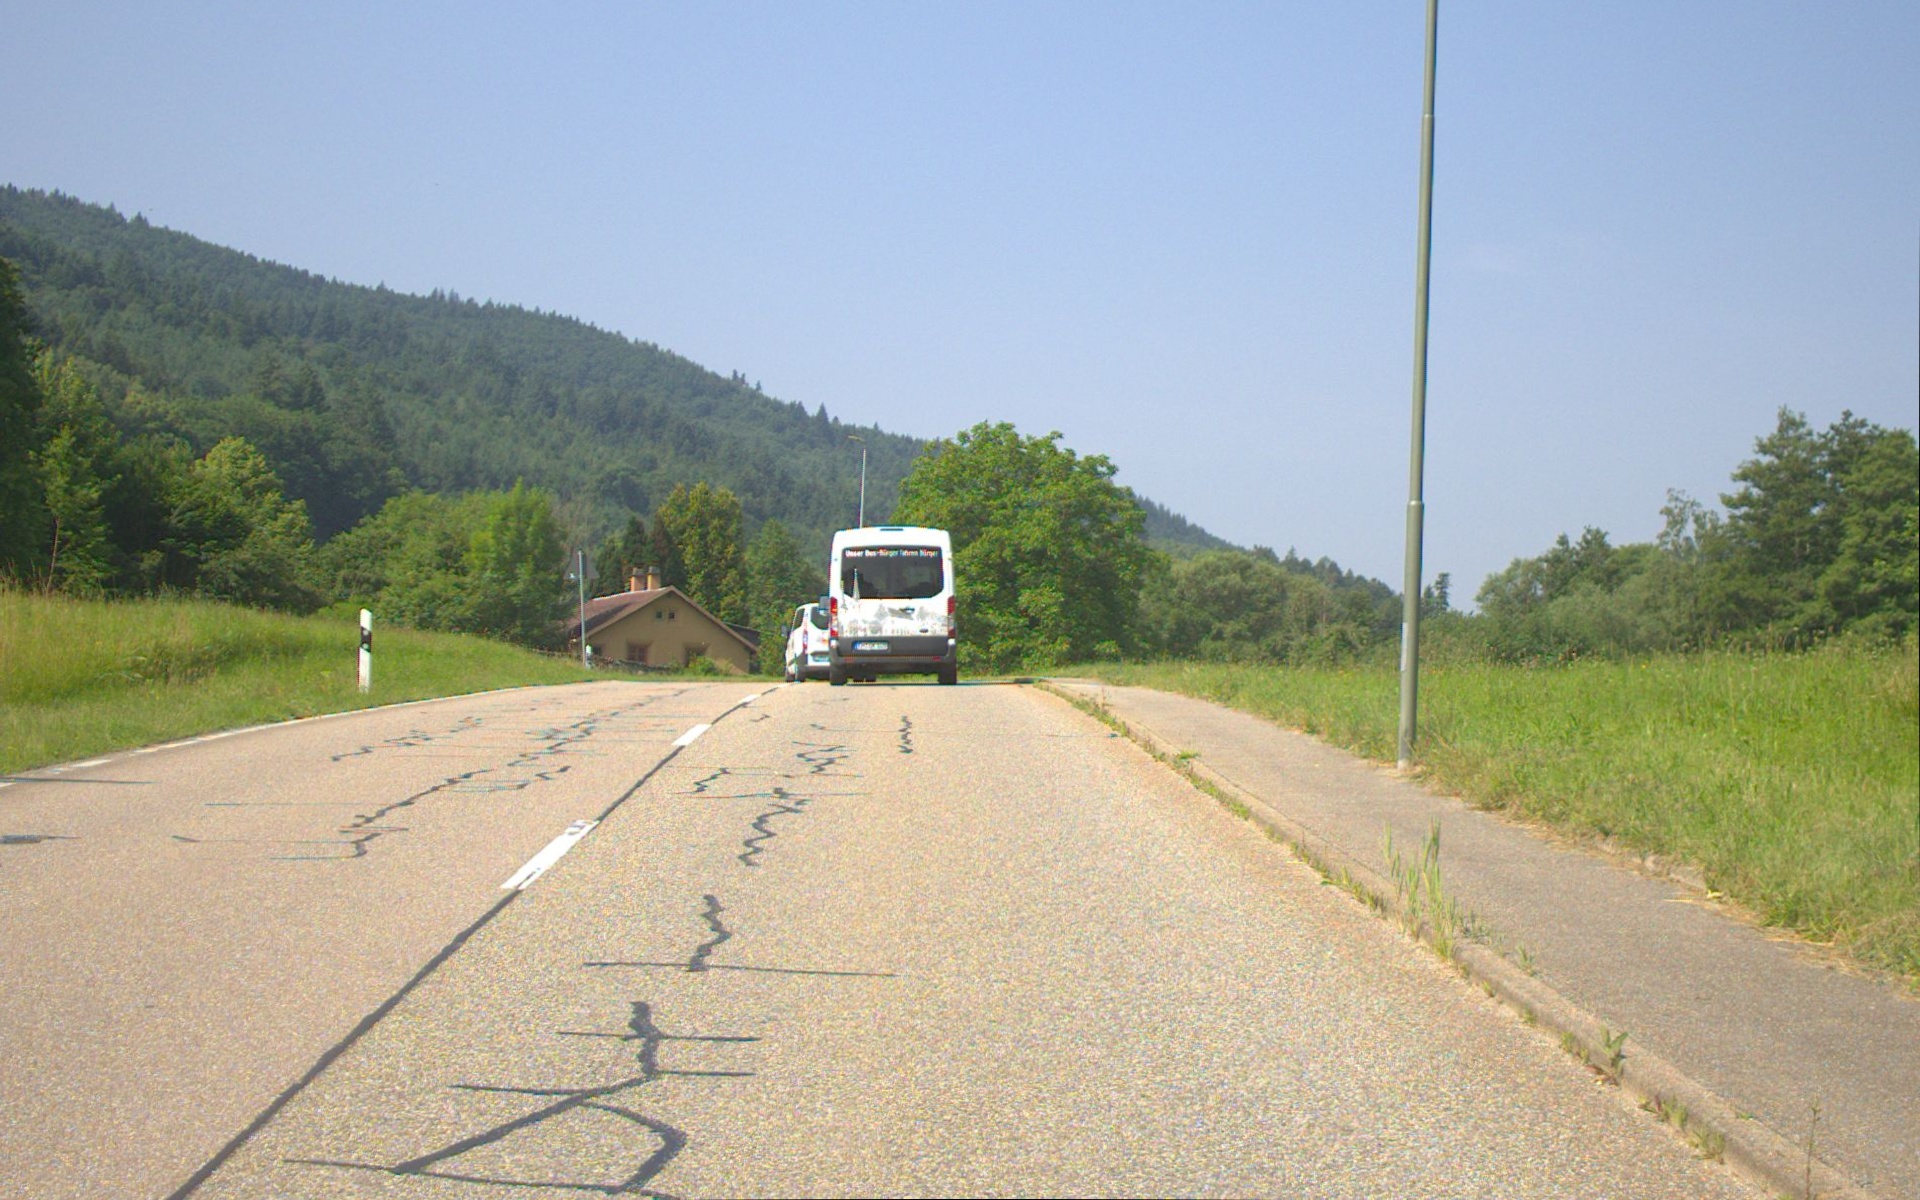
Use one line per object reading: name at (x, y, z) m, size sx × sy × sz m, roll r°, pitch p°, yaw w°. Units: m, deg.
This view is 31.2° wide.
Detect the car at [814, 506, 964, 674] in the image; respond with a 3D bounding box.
car at (-1.143, -0.098, 55.304) m, size 2.222 × 2.517 × 4.984 m, roll -2°, pitch -1°, yaw -1°

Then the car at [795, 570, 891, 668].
car at (-2.921, 0.500, 85.064) m, size 2.222 × 2.279 × 4.984 m, roll -2°, pitch -1°, yaw -3°
